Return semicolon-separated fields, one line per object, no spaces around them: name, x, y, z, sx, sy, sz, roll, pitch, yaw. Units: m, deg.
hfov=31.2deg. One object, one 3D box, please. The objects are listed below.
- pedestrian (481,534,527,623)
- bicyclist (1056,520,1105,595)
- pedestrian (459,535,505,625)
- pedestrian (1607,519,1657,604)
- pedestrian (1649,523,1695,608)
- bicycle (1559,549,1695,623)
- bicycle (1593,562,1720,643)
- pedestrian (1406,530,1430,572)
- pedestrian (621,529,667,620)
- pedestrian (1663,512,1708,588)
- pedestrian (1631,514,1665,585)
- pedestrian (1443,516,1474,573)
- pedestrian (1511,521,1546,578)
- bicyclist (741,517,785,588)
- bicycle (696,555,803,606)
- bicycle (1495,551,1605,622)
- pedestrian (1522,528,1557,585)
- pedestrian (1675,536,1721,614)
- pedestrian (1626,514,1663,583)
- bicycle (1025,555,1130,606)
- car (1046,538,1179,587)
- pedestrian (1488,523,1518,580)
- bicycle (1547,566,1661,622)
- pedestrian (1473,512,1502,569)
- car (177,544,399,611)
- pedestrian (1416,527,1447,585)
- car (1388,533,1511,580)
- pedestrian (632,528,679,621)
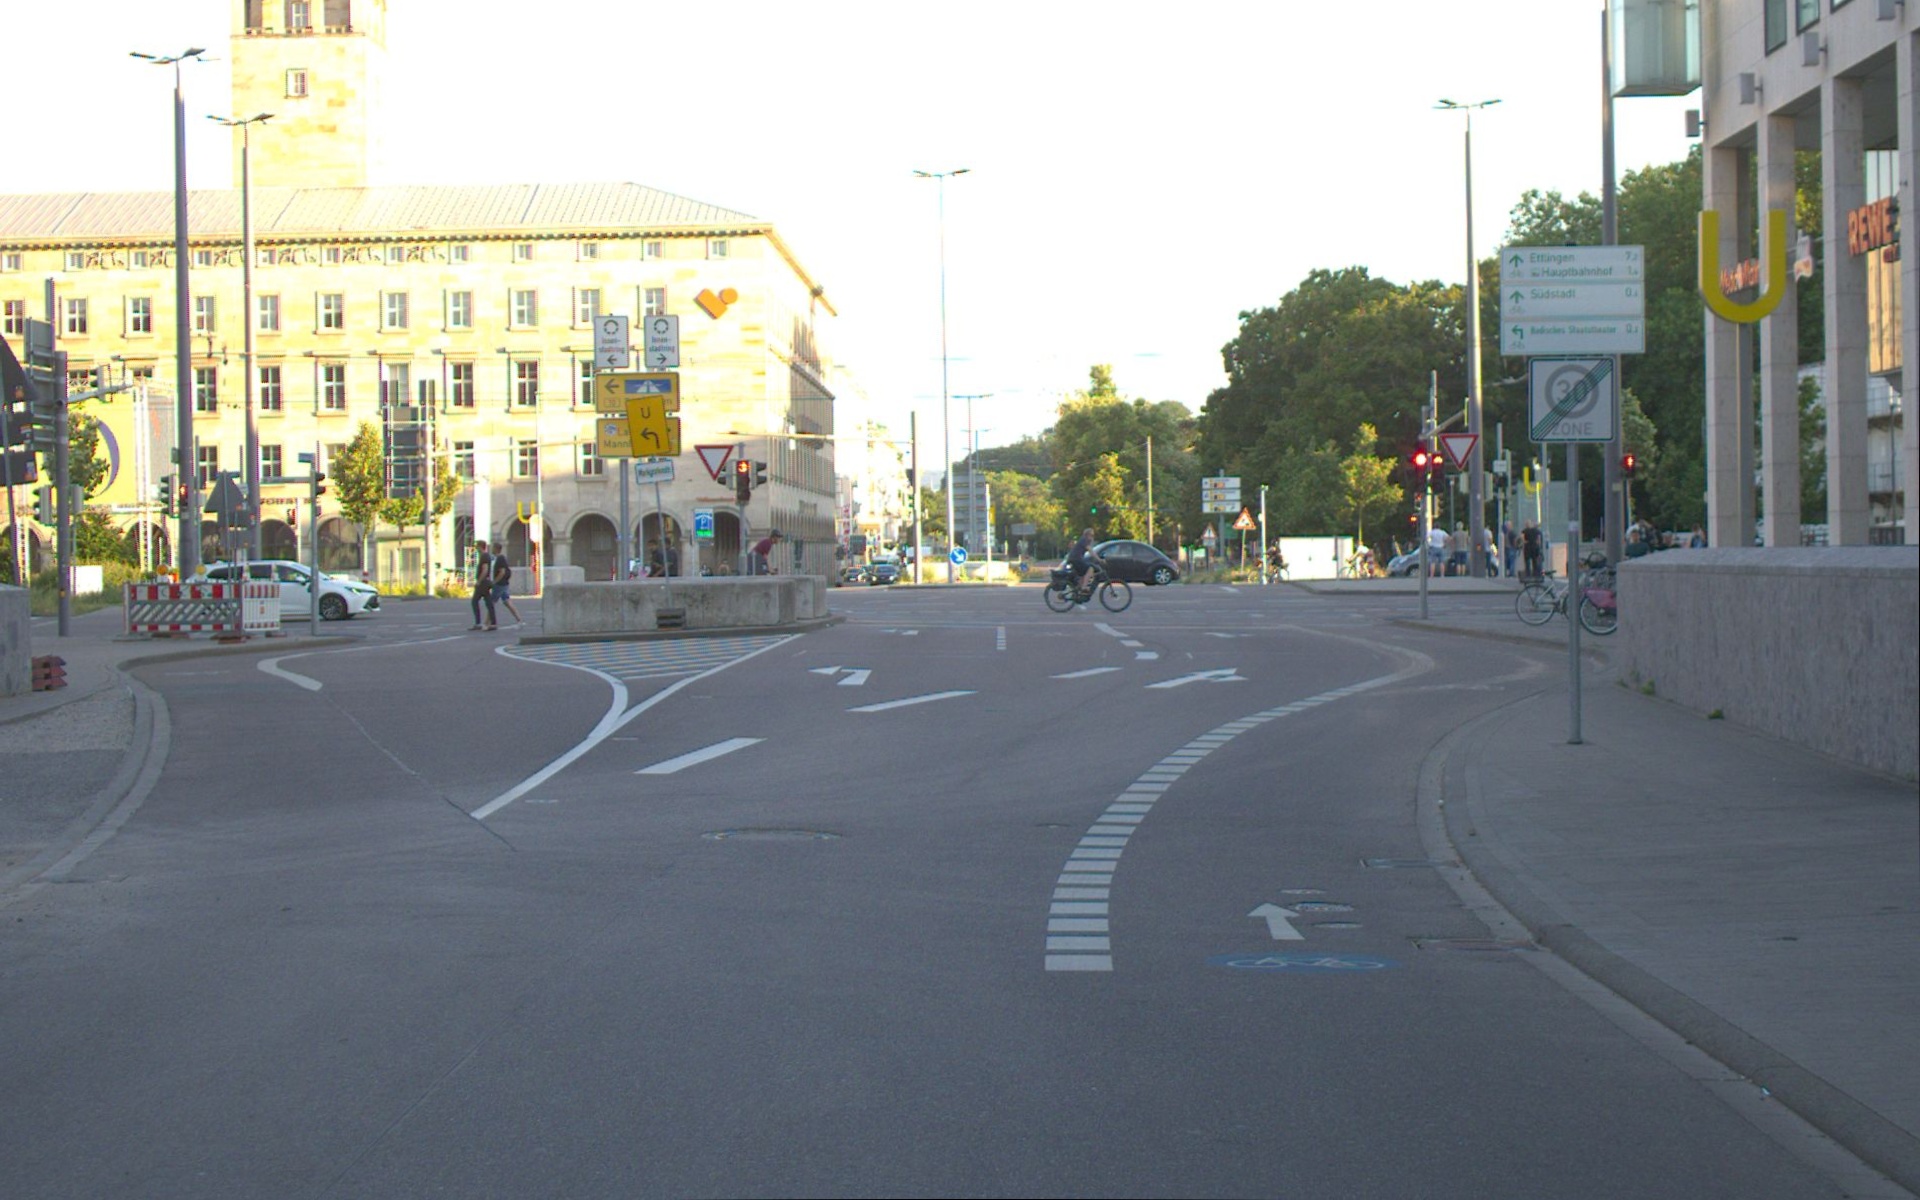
pedestrian;-9.371;-0.440;70.639;0.738;1.771;0.863;-3;1;-2
bicyclist;2.613;-0.924;74.775;1.019;1.615;0.653;-1;1;1
pedestrian;-9.706;-0.403;69.807;0.738;1.771;0.863;-3;1;-2
pedestrian;14.445;-0.827;73.923;0.860;1.771;0.741;-3;1;2
pedestrian;15.295;-0.745;73.900;0.756;1.771;0.741;-3;1;2
bicycle;9.732;-0.207;50.203;1.898;1.044;0.570;-1;1;6
bicycle;11.136;0.031;54.971;1.867;1.255;0.673;1;1;0
pedestrian;19.096;-2.050;143.365;0.808;1.724;0.929;-1;1;-1
pedestrian;-6.201;-0.510;67.383;0.738;1.771;0.864;0;1;-16
pedestrian;16.644;-1.138;78.880;0.893;1.724;0.688;-1;1;4
pedestrian;16.787;-1.233;83.910;0.692;1.724;0.741;-1;1;3
pedestrian;15.139;-1.688;104.441;0.808;1.724;0.688;-1;1;-1
pedestrian;17.262;-1.523;104.402;0.808;1.724;0.688;-1;1;-21
bicyclist;-4.280;-1.035;74.749;0.879;1.525;0.653;-1;1;3
bicycle;-4.571;-0.422;74.768;2.242;1.058;0.653;-1;1;3
bicycle;10.293;-0.237;60.006;1.819;1.208;0.570;-1;1;17
pedestrian;17.745;-1.329;105.248;0.685;1.724;0.811;-1;1;-25
pedestrian;16.472;-0.552;76.784;0.893;1.724;0.688;-1;1;4
pedestrian;17.180;-1.296;86.322;0.836;1.724;0.688;-1;1;6
bicycle;2.549;-0.417;74.783;2.242;1.058;0.653;-1;1;1
car;4.894;-1.210;110.820;3.986;1.489;1.829;-1;1;-9
pedestrian;16.489;-1.470;104.374;0.808;1.724;0.687;-1;1;13
bicycle;11.154;-0.101;59.601;1.867;0.933;0.516;-1;1;0
pedestrian;16.162;-1.822;105.329;0.808;1.724;0.687;-1;1;13
car;-15.869;-0.546;81.363;4.797;1.490;2.128;-1;1;1
pedestrian;14.313;-1.342;104.415;0.808;1.724;0.688;-1;1;-1
car;15.978;-1.418;112.289;3.713;1.448;1.546;-1;1;-5
pedestrian;-5.883;-0.492;66.388;0.738;1.771;0.864;-2;1;-12
